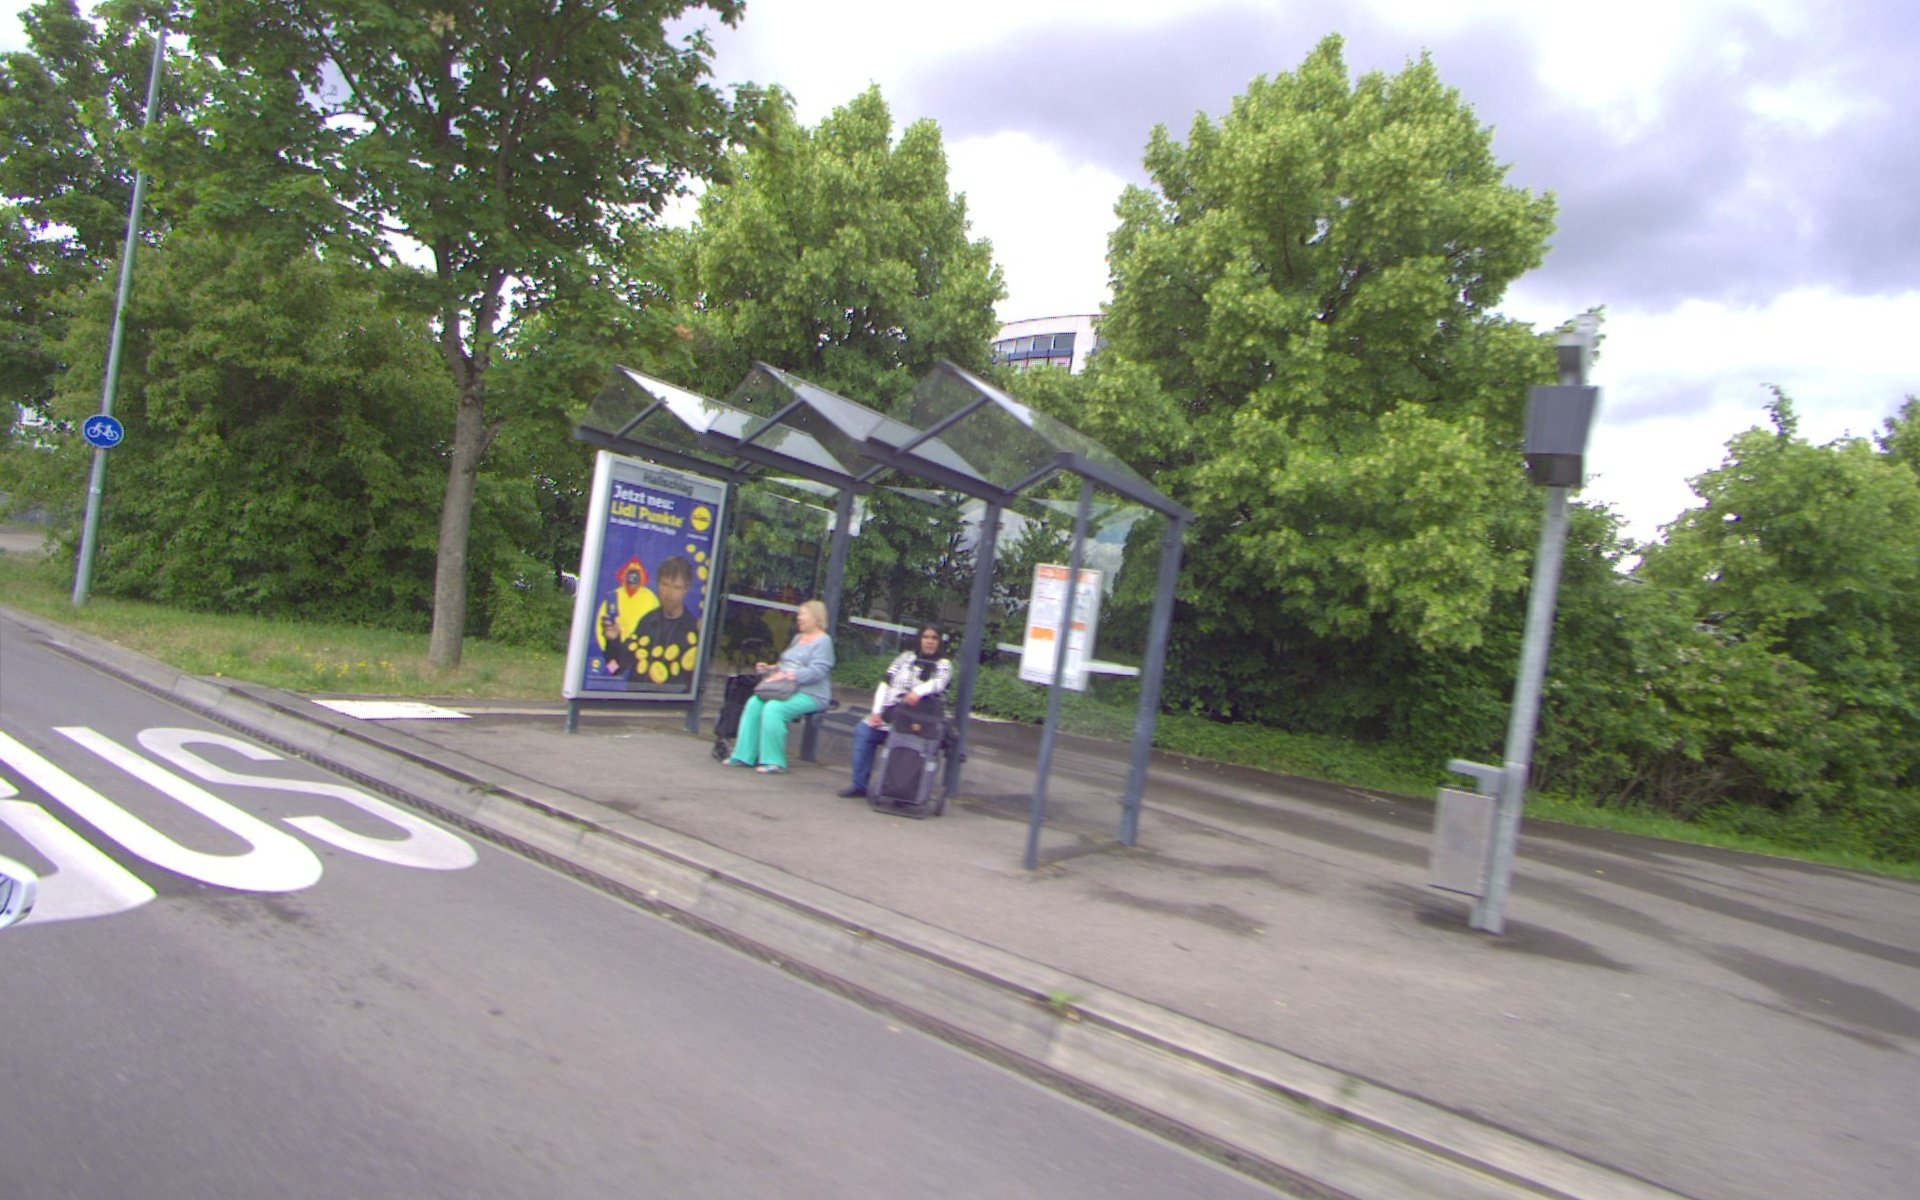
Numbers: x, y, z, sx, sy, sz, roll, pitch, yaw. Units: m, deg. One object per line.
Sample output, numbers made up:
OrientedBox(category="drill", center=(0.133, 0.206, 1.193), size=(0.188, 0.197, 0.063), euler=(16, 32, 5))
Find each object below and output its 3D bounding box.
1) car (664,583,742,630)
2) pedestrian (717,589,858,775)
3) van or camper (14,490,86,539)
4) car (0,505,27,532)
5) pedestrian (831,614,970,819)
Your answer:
OrientedBox(category="car", center=(-16.469, 0.401, 64.393), size=(4.357, 2.341, 2.006), euler=(3, -13, 32))
OrientedBox(category="pedestrian", center=(-1.342, 0.644, 7.870), size=(0.580, 1.331, 0.728), euler=(7, -1, 38))
OrientedBox(category="van or camper", center=(-63.549, -5.984, 70.201), size=(6.809, 2.903, 1.967), euler=(6, -1, 34))
OrientedBox(category="car", center=(-64.333, -5.544, 67.442), size=(4.278, 1.525, 1.712), euler=(6, -3, 37))
OrientedBox(category="pedestrian", center=(-0.430, 0.780, 7.035), size=(0.759, 1.267, 0.775), euler=(8, -1, -6))
